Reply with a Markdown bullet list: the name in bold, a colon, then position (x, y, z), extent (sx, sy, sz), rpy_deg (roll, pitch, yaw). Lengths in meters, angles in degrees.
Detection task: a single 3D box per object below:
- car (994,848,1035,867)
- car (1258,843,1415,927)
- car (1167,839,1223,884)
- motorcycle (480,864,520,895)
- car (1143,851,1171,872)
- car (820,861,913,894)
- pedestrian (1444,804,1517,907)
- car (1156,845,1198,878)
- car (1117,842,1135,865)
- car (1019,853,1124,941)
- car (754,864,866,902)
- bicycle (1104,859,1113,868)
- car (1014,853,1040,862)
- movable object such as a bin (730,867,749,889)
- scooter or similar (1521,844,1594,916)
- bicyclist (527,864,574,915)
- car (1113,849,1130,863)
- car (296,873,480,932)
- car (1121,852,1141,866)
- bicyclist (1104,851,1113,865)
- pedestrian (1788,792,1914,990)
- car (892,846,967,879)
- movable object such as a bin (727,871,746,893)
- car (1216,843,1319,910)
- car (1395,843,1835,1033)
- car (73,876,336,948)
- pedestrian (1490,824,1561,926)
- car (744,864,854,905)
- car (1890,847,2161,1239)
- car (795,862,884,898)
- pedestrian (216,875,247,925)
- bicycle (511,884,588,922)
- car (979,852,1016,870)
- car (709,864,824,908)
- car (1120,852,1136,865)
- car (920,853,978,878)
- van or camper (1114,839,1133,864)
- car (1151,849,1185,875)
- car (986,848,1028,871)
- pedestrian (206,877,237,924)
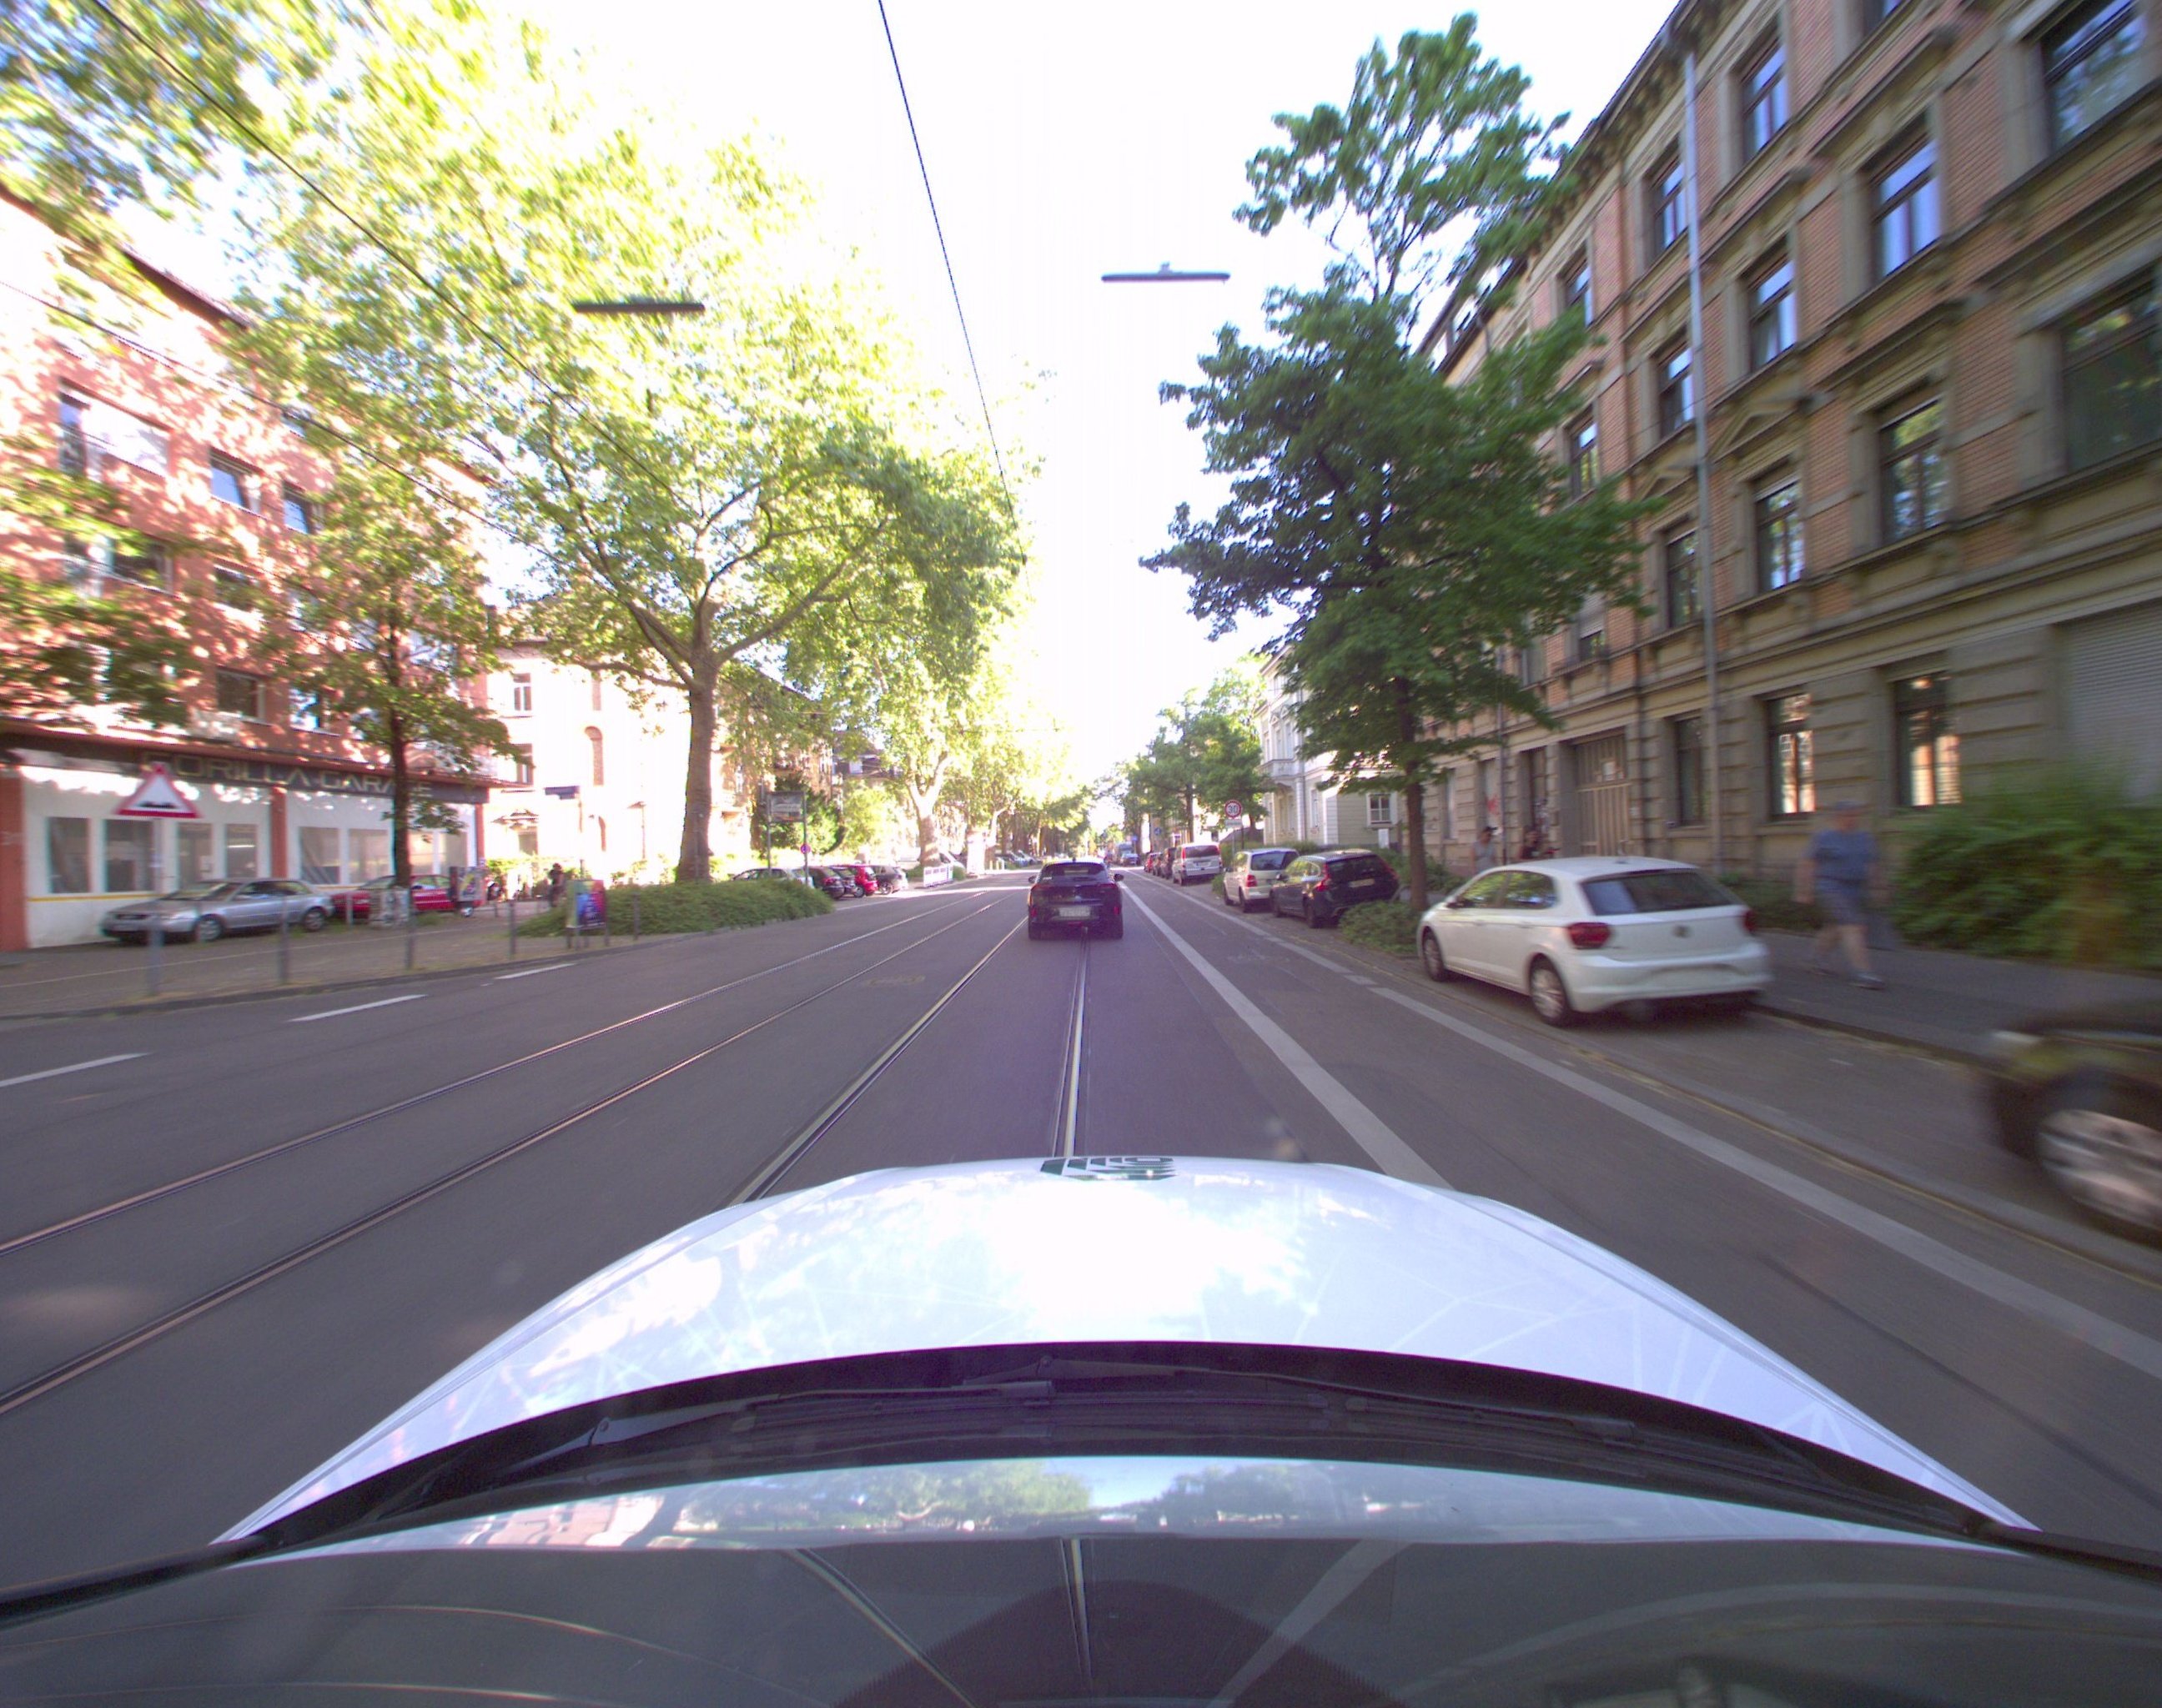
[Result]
- **car**: position (-9.547, 0.501, 117.667), extent (5.613, 2.593, 2.199), rpy_deg (-1, 0, 4)
- **car**: position (5.401, 0.610, 17.937), extent (1.878, 1.467, 4.592), rpy_deg (-4, 0, -1)
- **car**: position (5.298, 0.357, 38.483), extent (1.877, 1.851, 4.968), rpy_deg (-4, 0, 1)
- **motorcycle**: position (-25.841, 1.116, 36.229), extent (0.597, 1.288, 1.627), rpy_deg (-1, 0, 0)
- **car**: position (5.744, 0.552, 62.200), extent (1.697, 1.423, 3.979), rpy_deg (-5, 0, 1)
- **car**: position (-10.399, 1.136, 39.634), extent (3.974, 1.465, 1.854), rpy_deg (-1, 0, 0)
- **pedestrian**: position (6.875, 0.028, 14.040), extent (0.724, 1.693, 0.955), rpy_deg (-1, 0, -4)
- **car**: position (5.524, 0.419, 47.442), extent (1.879, 1.766, 4.678), rpy_deg (-2, 0, 1)
- **car**: position (5.790, -0.081, 105.497), extent (2.078, 2.772, 4.698), rpy_deg (-3, 0, 1)
- **car**: position (-0.117, 0.735, 15.811), extent (1.757, 1.460, 3.951), rpy_deg (-1, 0, 1)
- **car**: position (-11.415, 1.200, 34.456), extent (4.066, 1.465, 1.822), rpy_deg (-1, 0, 2)
- **bicycle**: position (3.162, 1.120, 93.262), extent (0.965, 0.999, 2.582), rpy_deg (-1, 0, -1)
- **car**: position (-9.593, 0.620, 143.885), extent (4.352, 1.665, 1.994), rpy_deg (-1, 0, -8)
- **movable object such as a bin**: position (-17.909, 1.259, 42.716), extent (0.720, 1.109, 0.561), rpy_deg (-1, 0, 2)
- **scooter or similar**: position (8.633, 0.457, 14.809), extent (0.573, 1.246, 1.335), rpy_deg (-1, 0, 2)
- **bicyclist**: position (-16.153, 1.059, 24.807), extent (0.799, 1.507, 1.113), rpy_deg (-1, 0, -10)
- **car**: position (5.896, 0.290, 119.259), extent (2.246, 1.840, 5.531), rpy_deg (-3, 0, 1)
- **car**: position (-20.372, 1.365, 24.202), extent (1.941, 1.487, 4.001), rpy_deg (-1, 0, 1)
- **car**: position (5.384, 0.530, 87.952), extent (1.877, 1.434, 4.530), rpy_deg (-4, 0, 1)
- **bicyclist**: position (3.143, 0.474, 93.244), extent (0.955, 1.499, 1.094), rpy_deg (-1, 0, -1)
- **pedestrian**: position (7.362, 0.337, 7.824), extent (0.719, 1.793, 0.604), rpy_deg (-1, -1, 28)
- **car**: position (-10.972, 0.628, 59.179), extent (5.021, 2.259, 2.083), rpy_deg (-1, 0, -3)
- **movable object such as a bin**: position (-17.818, 1.457, 42.094), extent (0.721, 1.109, 0.543), rpy_deg (-1, 0, 2)
- **car**: position (5.077, 0.581, 22.782), extent (1.877, 1.568, 4.242), rpy_deg (-4, 0, 1)
- **car**: position (5.032, 0.673, 8.521), extent (1.877, 1.368, 4.107), rpy_deg (-4, 0, 1)
- **car**: position (-20.484, 1.295, 19.323), extent (1.941, 1.407, 3.893), rpy_deg (-1, 0, 1)
- **pedestrian**: position (7.691, 0.356, 14.139), extent (0.724, 1.709, 0.855), rpy_deg (-1, 0, -2)
- **car**: position (-10.882, 1.180, 31.561), extent (3.587, 1.465, 1.688), rpy_deg (-1, 0, 2)
- **car**: position (4.933, 0.707, 2.157), extent (1.668, 1.412, 3.841), rpy_deg (-4, 0, -1)
- **car**: position (-10.854, 1.154, 36.687), extent (3.406, 1.465, 1.761), rpy_deg (-1, 0, 2)
- **pedestrian**: position (-30.690, 1.660, 29.421), extent (0.537, 1.778, 0.520), rpy_deg (-1, 0, 0)
- **bicycle**: position (-16.126, 1.465, 24.797), extent (0.967, 0.999, 2.575), rpy_deg (-1, 0, -9)
- **car**: position (-10.053, 0.839, 98.254), extent (4.296, 1.840, 1.778), rpy_deg (-5, 0, -7)
- **car**: position (-11.258, 1.129, 29.279), extent (3.406, 1.465, 1.698), rpy_deg (-1, 0, 2)
- **car**: position (5.649, 0.568, 98.290), extent (1.797, 1.434, 4.000), rpy_deg (-3, -1, 1)
- **car**: position (-10.497, 0.913, 65.025), extent (4.288, 1.801, 1.924), rpy_deg (-1, 0, -2)
- **van or camper**: position (5.858, -0.343, 112.063), extent (2.246, 3.216, 5.531), rpy_deg (-3, 0, 1)
- **car**: position (5.639, 0.512, 53.178), extent (1.707, 1.514, 4.035), rpy_deg (-4, 0, 0)
- **car**: position (-9.502, 0.711, 104.949), extent (5.019, 2.374, 2.081), rpy_deg (-5, 0, 1)
- **pedestrian**: position (-31.366, 1.679, 29.718), extent (0.501, 1.660, 0.549), rpy_deg (-1, 0, 0)
